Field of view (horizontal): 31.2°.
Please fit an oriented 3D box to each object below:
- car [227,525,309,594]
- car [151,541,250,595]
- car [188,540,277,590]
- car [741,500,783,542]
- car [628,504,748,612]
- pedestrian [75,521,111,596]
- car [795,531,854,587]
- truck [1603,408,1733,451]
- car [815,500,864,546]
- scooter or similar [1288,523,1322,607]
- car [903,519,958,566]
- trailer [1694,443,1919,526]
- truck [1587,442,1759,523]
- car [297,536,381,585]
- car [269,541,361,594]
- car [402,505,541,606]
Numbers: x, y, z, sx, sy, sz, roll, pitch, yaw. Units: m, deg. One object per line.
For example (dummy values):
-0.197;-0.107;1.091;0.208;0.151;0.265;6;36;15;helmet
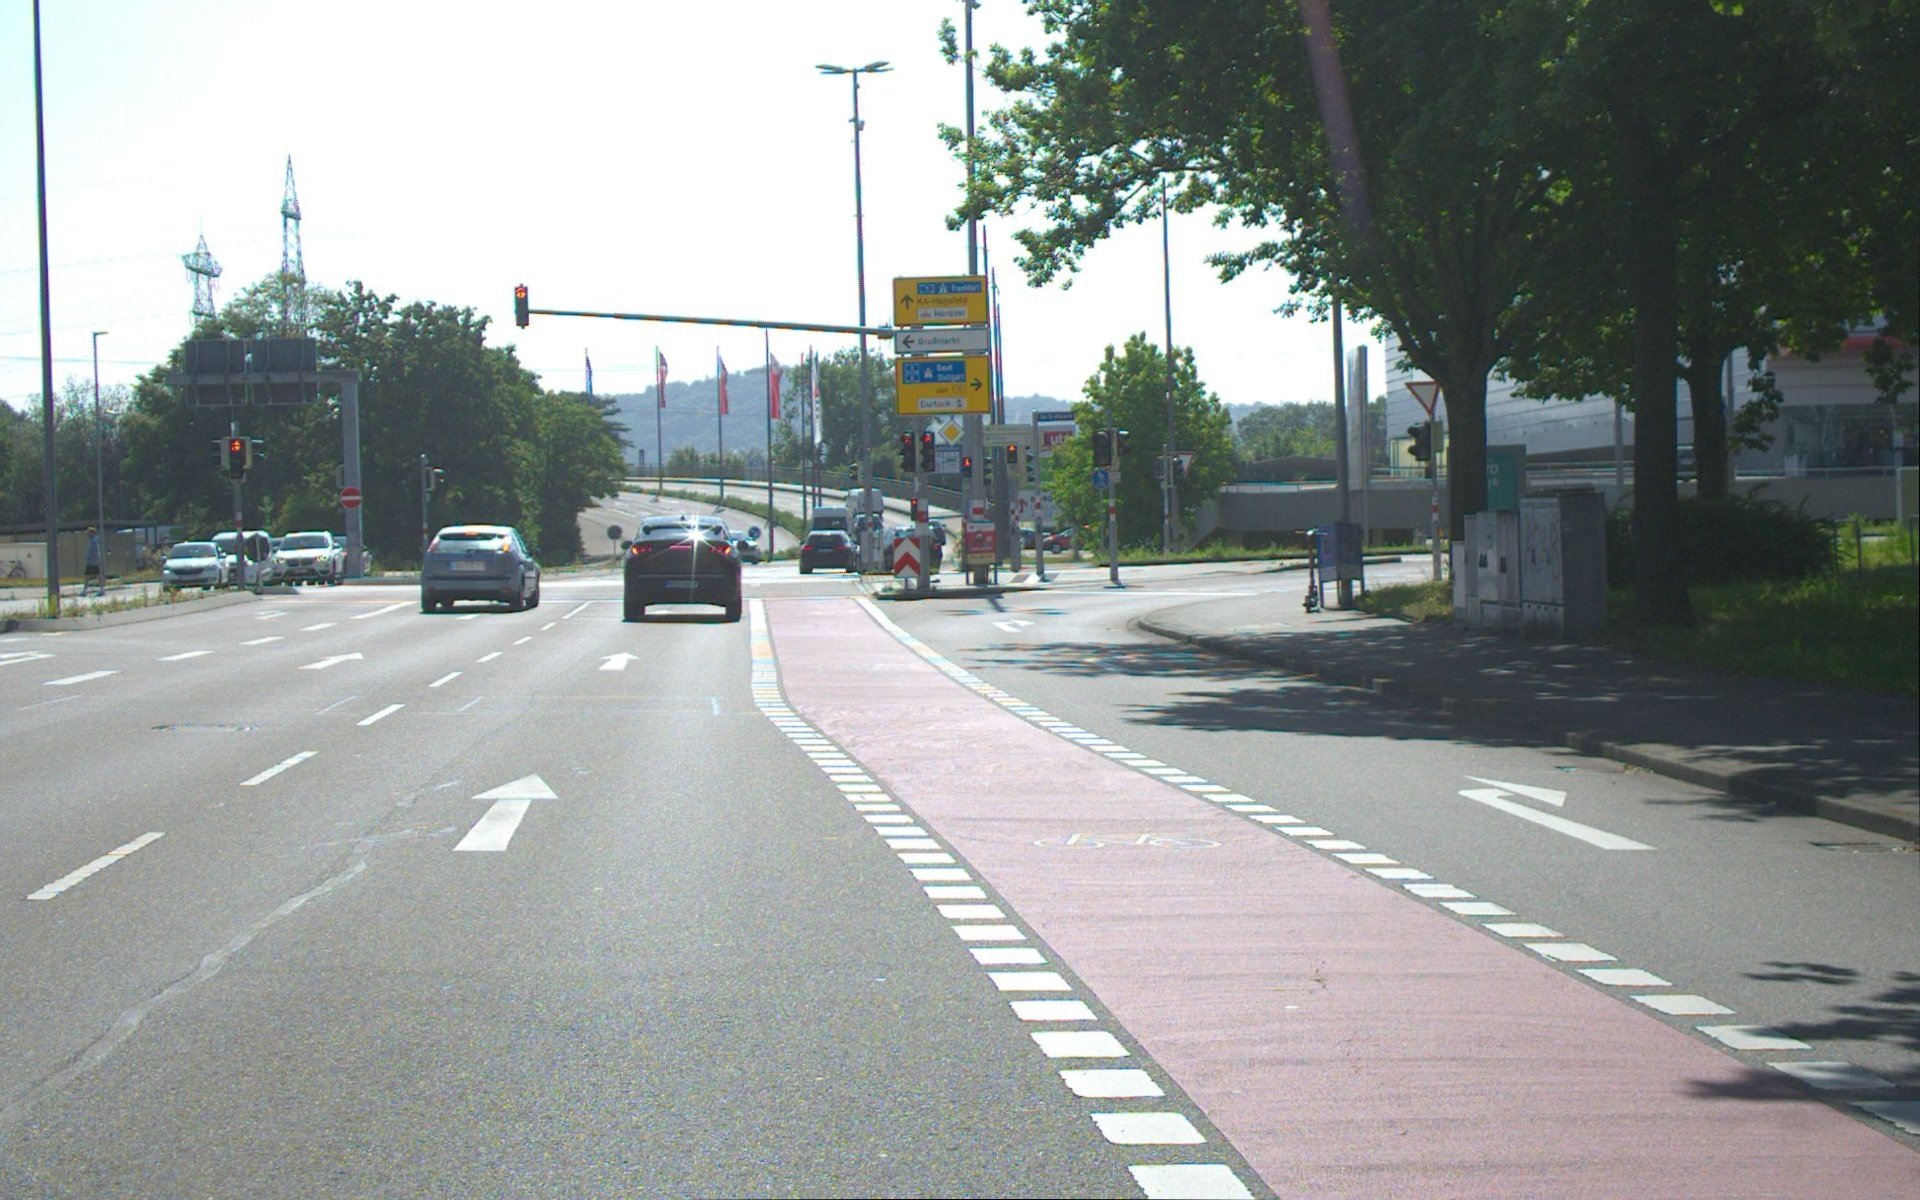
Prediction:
-14.378;-0.857;71.519;1.215;1.326;2.800;1;3;-1;car
-22.302;-0.961;101.108;1.892;1.459;4.000;-2;1;2;car
-22.911;-1.123;108.454;1.816;1.459;4.000;-2;1;2;car
-9.811;-3.943;170.763;1.993;2.006;3.982;1;2;-2;car
-4.422;-0.714;55.780;1.807;1.634;4.460;-2;2;-5;car
-23.714;-1.144;94.025;0.756;2.006;0.934;0;3;-28;pedestrian
-4.608;-1.407;116.723;1.757;1.752;3.604;1;3;-6;car
34.642;-8.322;168.304;5.909;2.006;2.000;1;2;0;truck
-5.560;-3.560;159.078;1.993;2.006;4.000;1;2;2;car
5.177;-0.532;51.580;0.351;1.229;1.310;-2;1;11;scooter or similar
-0.968;-1.855;109.526;1.689;1.354;4.001;1;3;-1;car
28.887;-3.551;106.342;11.871;2.460;2.000;1;2;2;trailer
22.067;-3.643;106.547;4.881;2.415;2.000;1;2;2;truck
-19.732;-1.273;109.380;1.816;1.459;4.000;-2;1;2;car
-19.192;-0.983;102.426;1.816;1.459;4.000;-2;1;2;car
-8.635;-0.817;61.078;1.993;1.678;4.001;-2;1;-2;car
